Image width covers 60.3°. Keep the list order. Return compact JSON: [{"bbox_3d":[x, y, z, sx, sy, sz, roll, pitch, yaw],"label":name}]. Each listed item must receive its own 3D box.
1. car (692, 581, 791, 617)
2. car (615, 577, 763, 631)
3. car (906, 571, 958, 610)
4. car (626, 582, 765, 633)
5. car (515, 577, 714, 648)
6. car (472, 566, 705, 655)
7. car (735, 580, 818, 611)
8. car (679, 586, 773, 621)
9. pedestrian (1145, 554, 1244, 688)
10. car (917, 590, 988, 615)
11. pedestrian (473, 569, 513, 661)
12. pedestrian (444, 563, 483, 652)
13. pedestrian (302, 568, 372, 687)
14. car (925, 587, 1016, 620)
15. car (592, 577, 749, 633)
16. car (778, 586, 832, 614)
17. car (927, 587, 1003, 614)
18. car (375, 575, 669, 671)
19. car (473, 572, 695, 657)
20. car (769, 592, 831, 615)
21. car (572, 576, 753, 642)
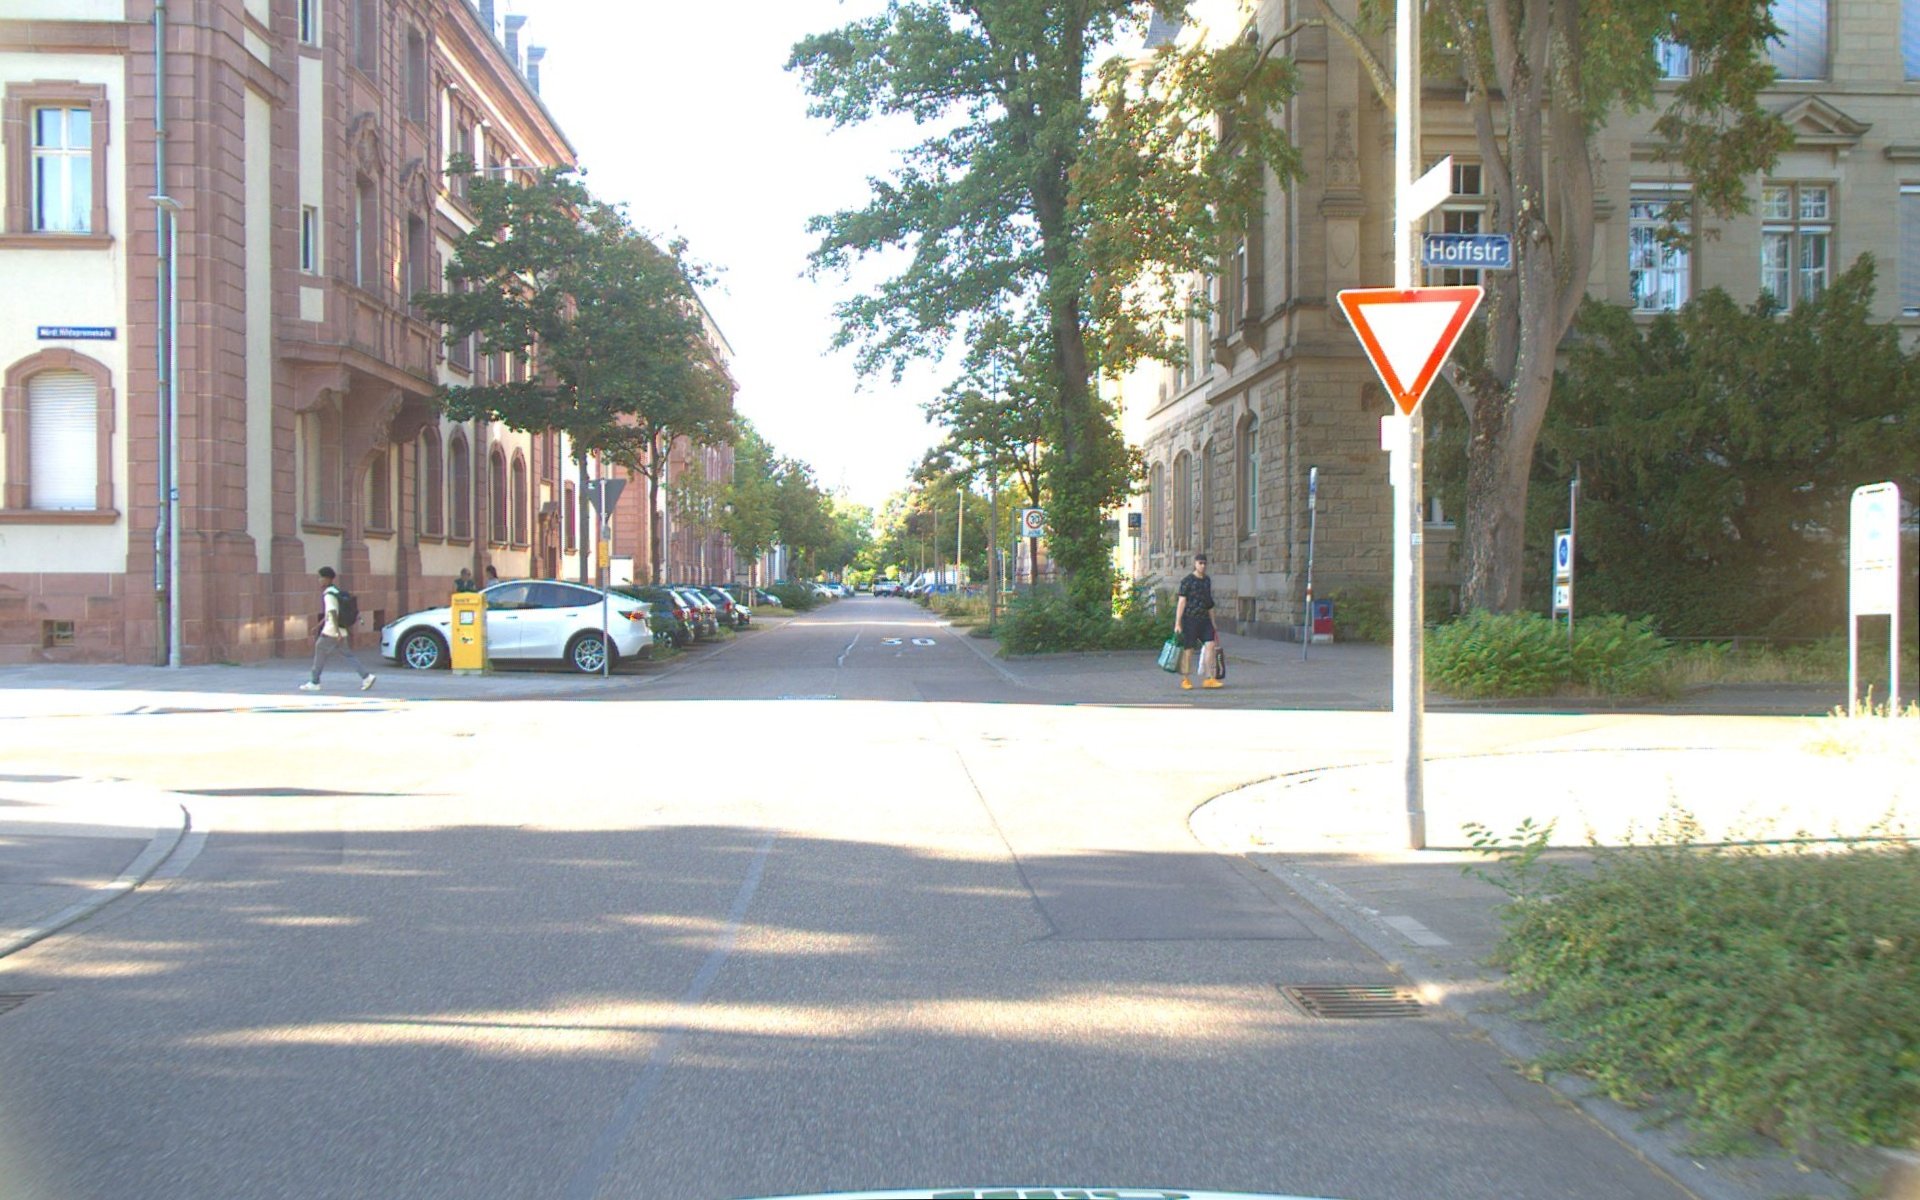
[{"bbox_3d":[-9.987,-0.050,75.839,4.395,1.636,1.840,0,0,-5],"label":"car"},{"bbox_3d":[-8.353,0.107,51.281,4.395,1.636,1.840,0,0,-5],"label":"car"},{"bbox_3d":[-2.617,-0.891,155.425,4.789,3.681,1.841,0,0,-4],"label":"car"},{"bbox_3d":[-8.648,0.243,54.380,4.395,1.636,1.840,0,0,-5],"label":"car"},{"bbox_3d":[-8.117,0.273,39.185,4.395,1.636,1.840,0,0,-5],"label":"car"},{"bbox_3d":[-7.494,0.201,33.693,4.395,1.747,1.840,0,0,-5],"label":"car"},{"bbox_3d":[-9.965,-0.243,90.115,4.395,1.636,1.840,0,0,-5],"label":"car"},{"bbox_3d":[-11.295,0.154,80.093,4.395,1.636,1.840,0,0,-5],"label":"car"},{"bbox_3d":[3.408,0.289,24.078,1.051,1.890,0.990,0,0,-34],"label":"pedestrian"},{"bbox_3d":[-0.519,0.135,108.053,4.493,1.636,1.840,0,0,-5],"label":"car"},{"bbox_3d":[-10.341,0.333,36.626,0.770,1.996,0.719,0,-1,-11],"label":"pedestrian"},{"bbox_3d":[-11.274,0.174,37.570,0.704,1.996,0.786,0,-1,-5],"label":"pedestrian"},{"bbox_3d":[-8.746,0.380,23.243,0.770,1.634,0.719,0,-1,-8],"label":"pedestrian"},{"bbox_3d":[0.502,0.180,82.364,4.395,1.636,1.840,0,0,-5],"label":"car"},{"bbox_3d":[-8.490,0.139,48.785,4.395,1.636,1.840,0,0,-5],"label":"car"},{"bbox_3d":[-13.224,-0.002,141.389,4.493,2.303,1.840,0,0,-5],"label":"car"},{"bbox_3d":[0.296,0.015,100.055,4.493,1.636,1.840,0,0,-5],"label":"car"},{"bbox_3d":[-7.630,0.376,29.200,4.747,1.622,1.840,0,0,-5],"label":"car"},{"bbox_3d":[-8.007,0.290,35.550,4.395,1.747,1.840,0,0,-5],"label":"car"},{"bbox_3d":[-11.724,0.255,121.462,4.493,1.636,1.840,0,0,-5],"label":"car"},{"bbox_3d":[-7.585,0.215,42.454,4.395,1.636,1.840,0,0,-5],"label":"car"}]
